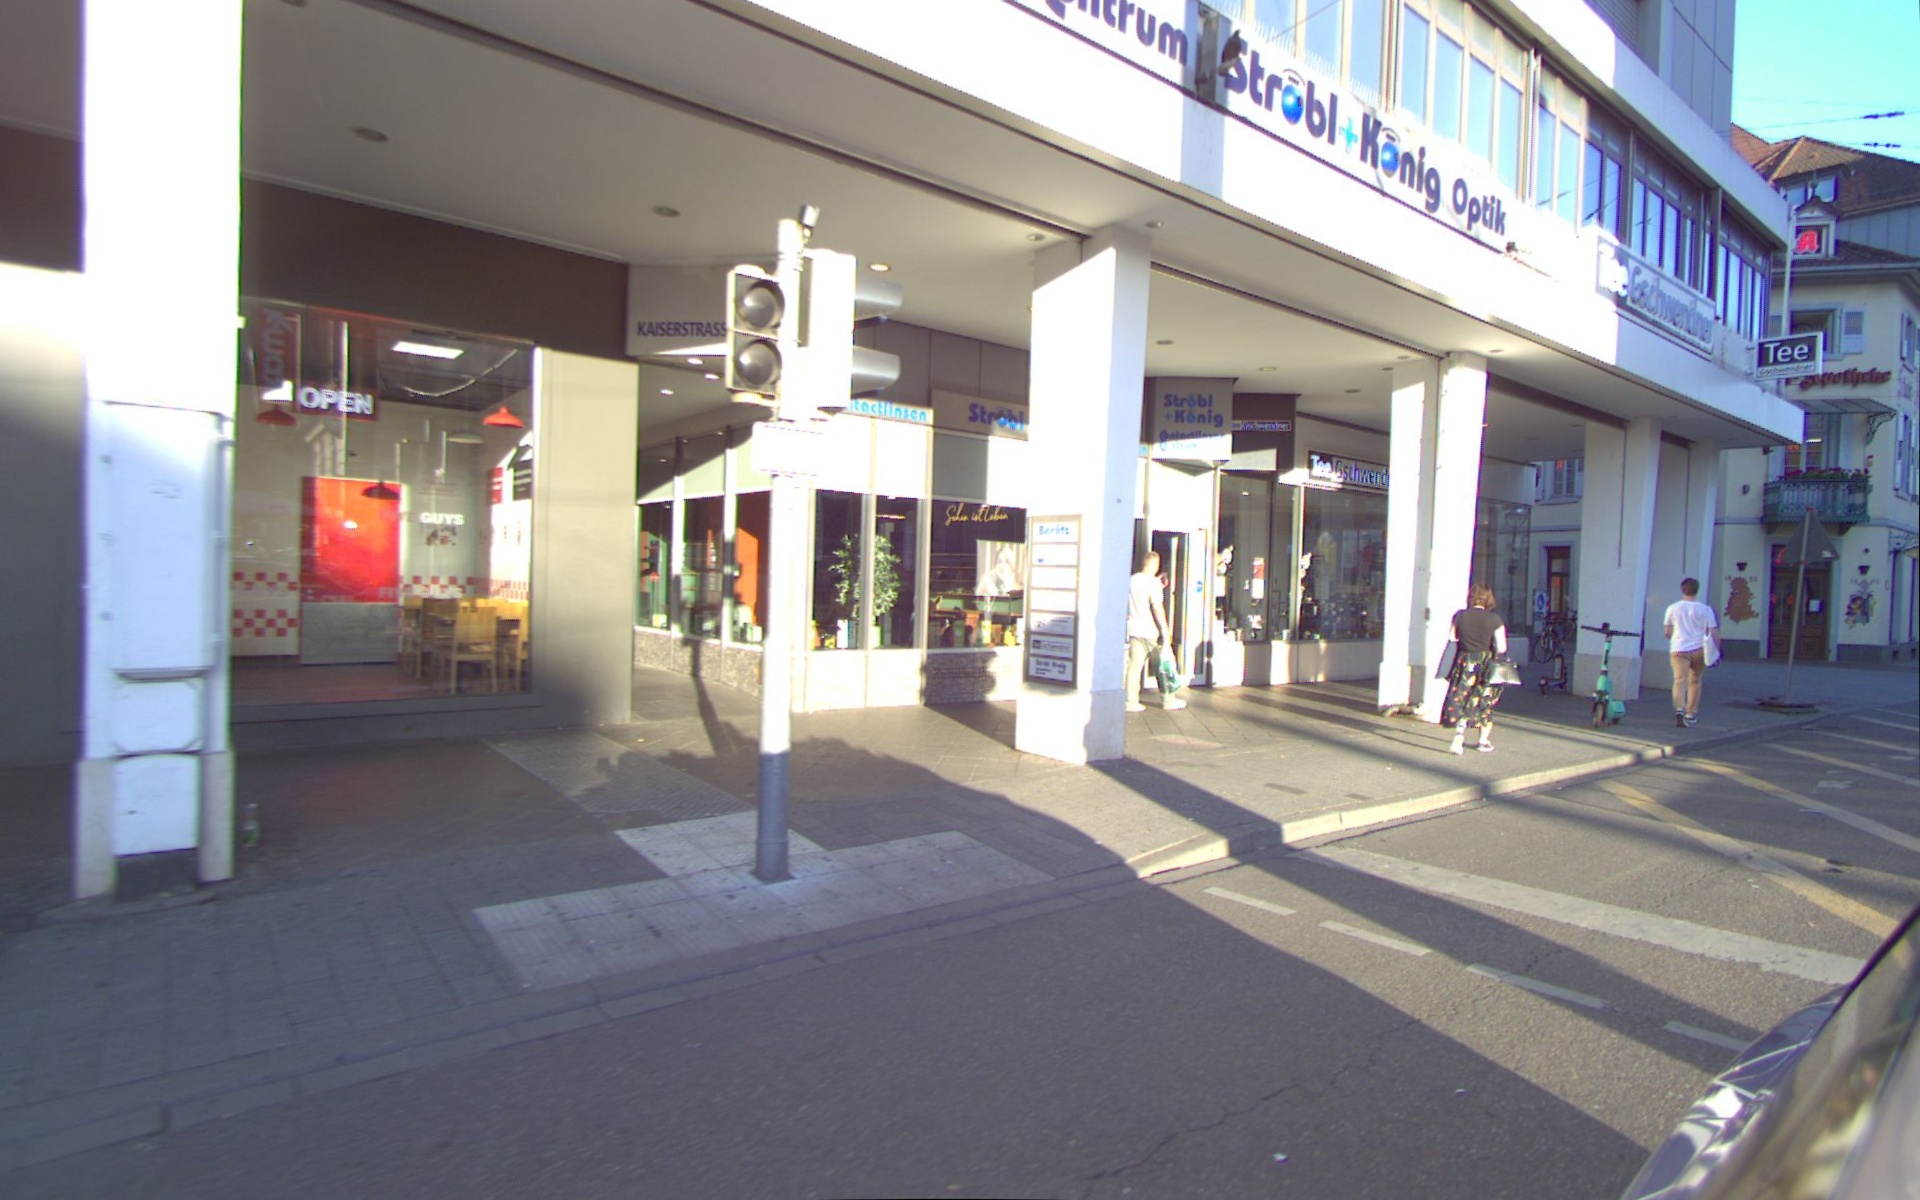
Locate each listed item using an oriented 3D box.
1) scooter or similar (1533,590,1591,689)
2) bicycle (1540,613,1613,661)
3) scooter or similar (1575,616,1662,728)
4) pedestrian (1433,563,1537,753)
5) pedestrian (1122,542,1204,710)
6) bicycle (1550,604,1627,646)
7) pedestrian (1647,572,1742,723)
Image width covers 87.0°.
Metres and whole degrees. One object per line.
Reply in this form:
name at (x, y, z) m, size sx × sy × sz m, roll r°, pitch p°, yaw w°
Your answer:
scooter or similar at (9.512, 0.606, 15.968) m, size 1.291 × 1.507 × 0.314 m, roll 1°, pitch 1°, yaw -38°
bicycle at (14.312, 0.859, 23.494) m, size 1.811 × 1.042 × 0.772 m, roll 3°, pitch -1°, yaw -35°
scooter or similar at (7.853, 0.830, 12.059) m, size 1.158 × 1.250 × 0.506 m, roll 1°, pitch 1°, yaw -39°
pedestrian at (4.952, 0.519, 9.561) m, size 0.530 × 1.714 × 0.702 m, roll 1°, pitch 0°, yaw -33°
pedestrian at (2.323, 0.283, 11.565) m, size 0.698 × 1.838 × 0.622 m, roll 1°, pitch 0°, yaw 38°
bicycle at (18.375, 0.730, 29.589) m, size 1.809 × 1.196 × 0.773 m, roll 1°, pitch 0°, yaw -7°
pedestrian at (9.301, 0.579, 12.823) m, size 0.835 × 1.838 × 0.702 m, roll 1°, pitch 0°, yaw -32°
